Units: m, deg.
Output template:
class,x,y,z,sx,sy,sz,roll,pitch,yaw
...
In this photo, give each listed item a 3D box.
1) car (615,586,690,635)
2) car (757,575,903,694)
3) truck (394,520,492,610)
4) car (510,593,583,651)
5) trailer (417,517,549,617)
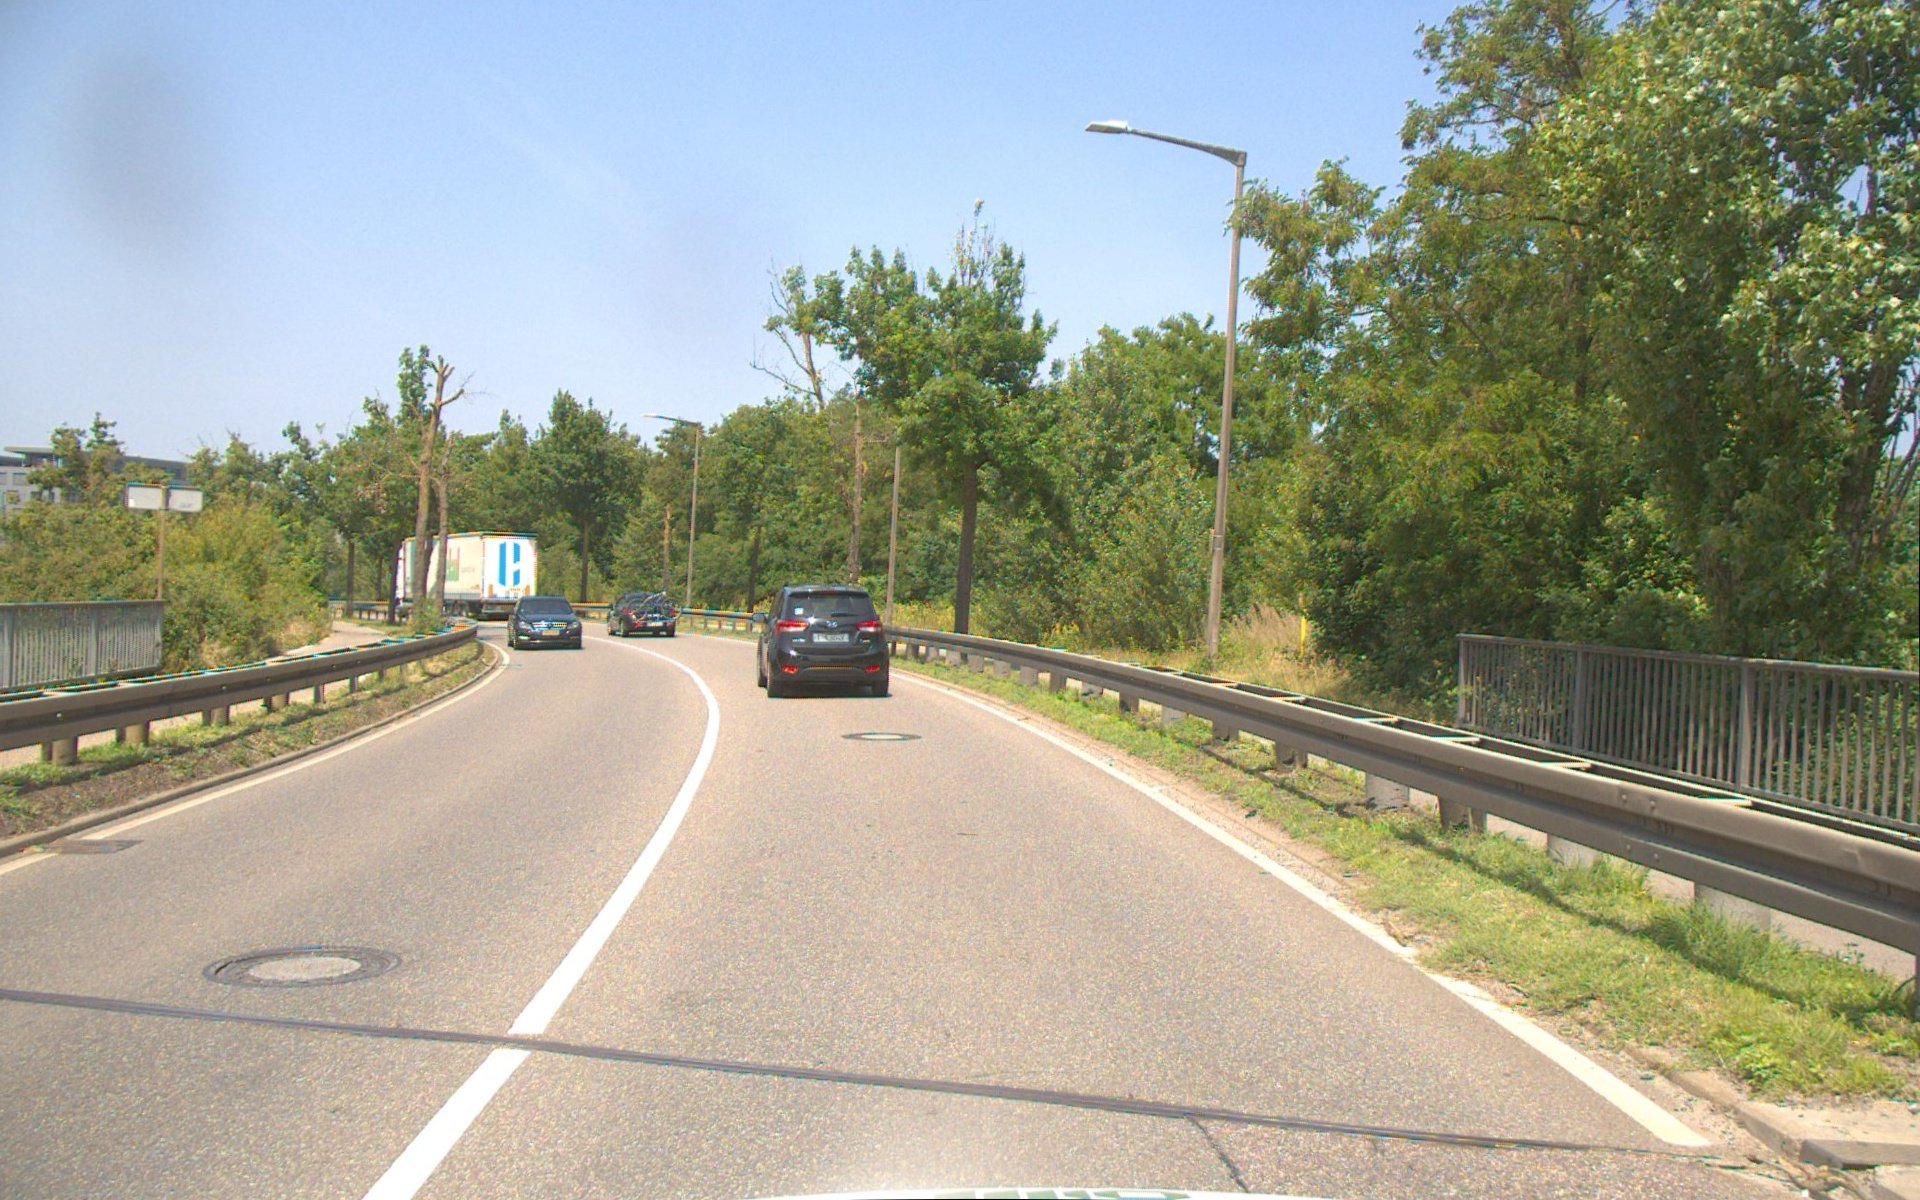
class,x,y,z,sx,sy,sz,roll,pitch,yaw
car,-10.042,0.329,53.904,1.980,1.454,3.759,0,2,-17
car,-2.042,0.453,25.036,1.886,1.601,3.883,0,2,-9
truck,-27.166,-1.882,86.781,3.537,4.518,6.447,0,2,-31
car,-11.267,0.567,44.938,1.650,1.468,4.109,-1,1,-18
trailer,-23.246,-1.662,80.035,3.532,4.460,11.326,0,2,-30
